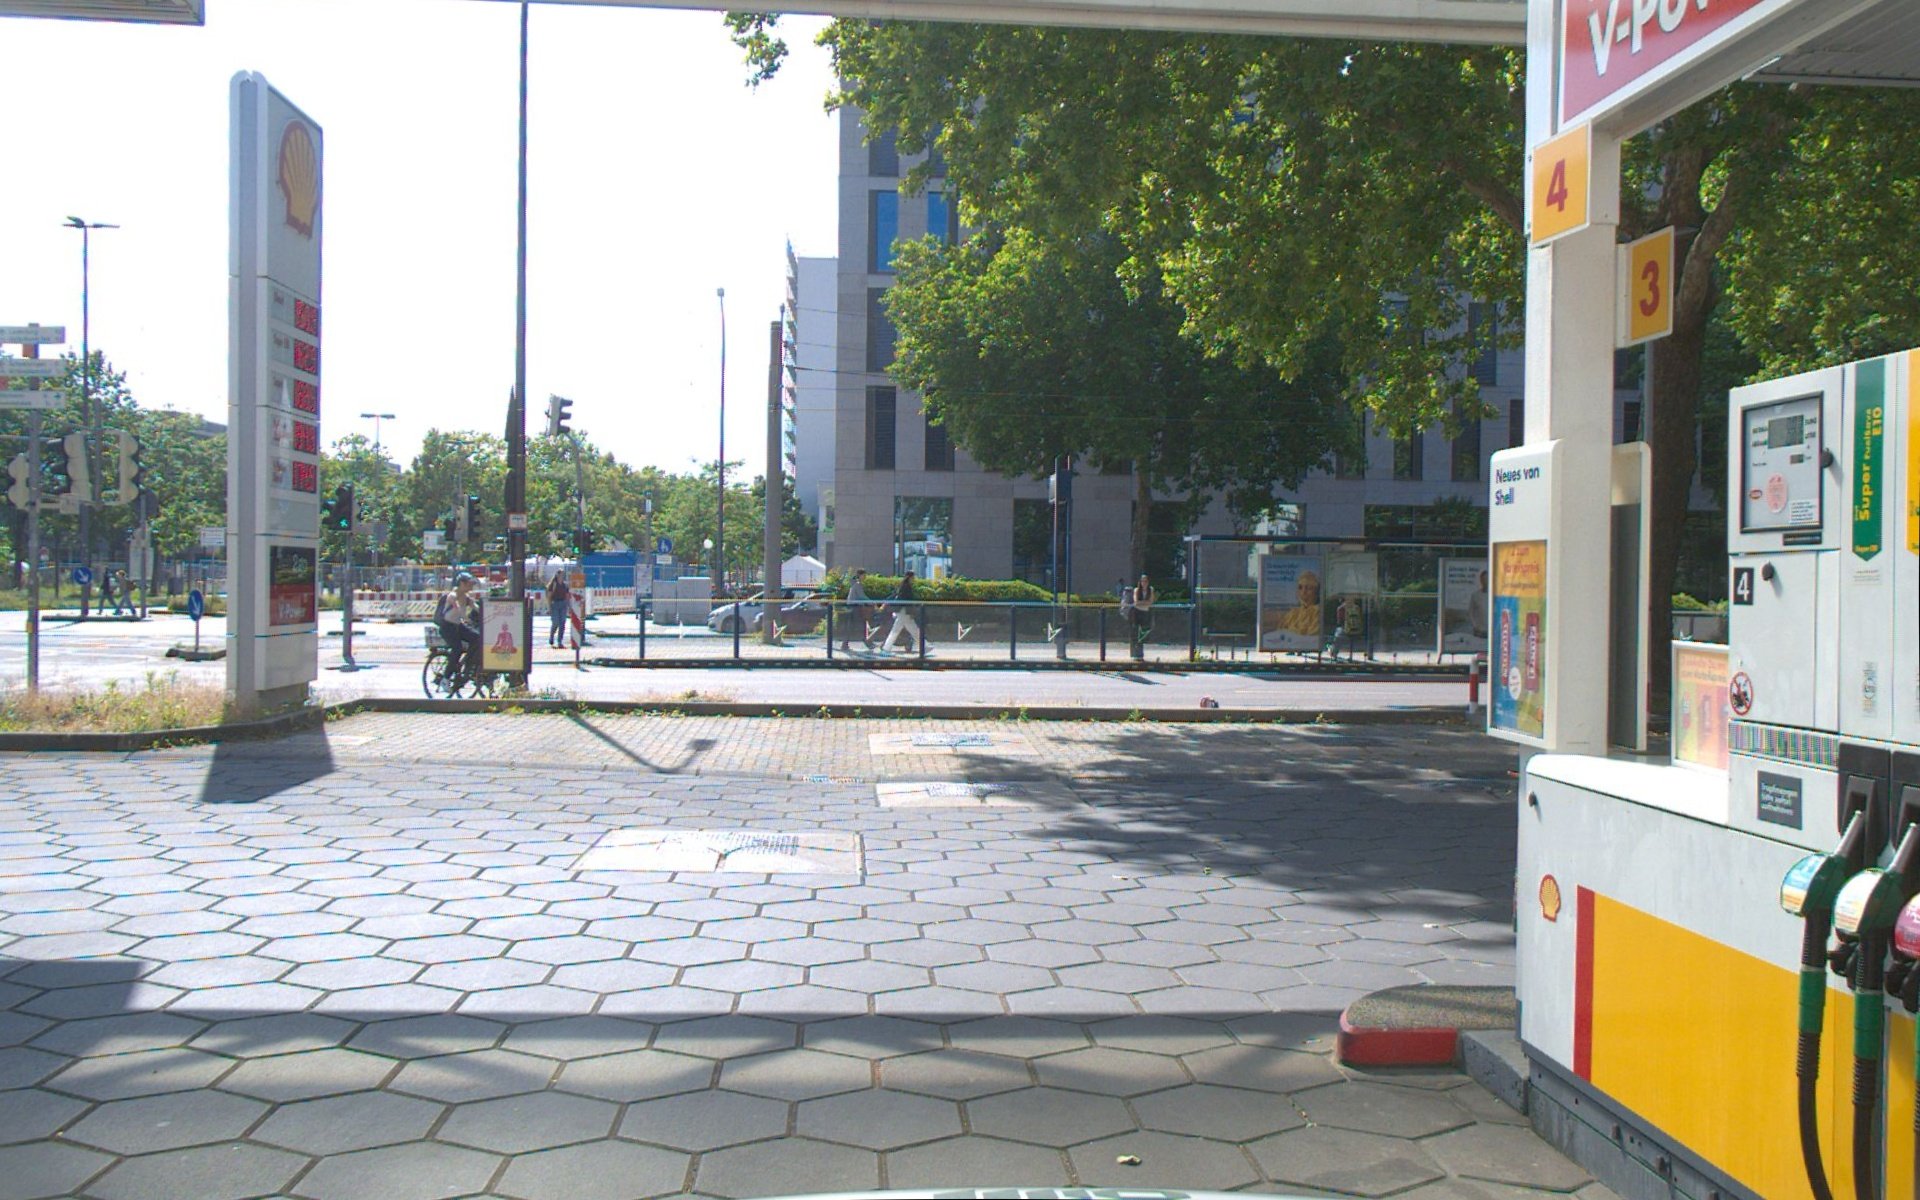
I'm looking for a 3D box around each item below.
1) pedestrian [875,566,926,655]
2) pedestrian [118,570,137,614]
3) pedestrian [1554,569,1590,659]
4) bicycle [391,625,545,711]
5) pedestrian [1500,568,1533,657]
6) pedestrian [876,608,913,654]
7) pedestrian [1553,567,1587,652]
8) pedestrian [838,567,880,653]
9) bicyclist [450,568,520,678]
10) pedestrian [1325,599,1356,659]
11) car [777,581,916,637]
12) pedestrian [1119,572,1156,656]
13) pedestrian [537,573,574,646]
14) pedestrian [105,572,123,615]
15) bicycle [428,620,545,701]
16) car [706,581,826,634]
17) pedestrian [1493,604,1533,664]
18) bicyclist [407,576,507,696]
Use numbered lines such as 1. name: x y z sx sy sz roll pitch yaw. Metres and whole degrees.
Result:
1. pedestrian: -1.146 0.196 32.133 0.912 1.712 0.503 1 0 5
2. pedestrian: -28.773 -0.271 57.172 0.557 1.494 0.509 0 0 -29
3. pedestrian: 12.236 0.277 33.076 0.489 1.766 0.524 1 0 -2
4. bicycle: -6.777 0.921 22.775 1.976 1.101 0.640 1 0 14
5. pedestrian: 11.121 0.254 33.048 0.489 1.766 0.406 1 0 -2
6. pedestrian: -1.313 0.613 33.235 0.676 0.895 0.503 1 0 4
7. pedestrian: 12.778 0.187 34.649 0.489 1.766 0.524 1 0 -2
8. pedestrian: -2.025 0.202 33.289 0.760 1.712 0.503 1 0 5
9. bicyclist: -6.897 0.327 24.004 0.847 1.571 0.533 1 0 32
10. pedestrian: 7.533 0.567 32.734 0.488 1.157 0.524 1 0 2
11. car: -3.351 0.245 48.511 3.914 1.579 1.699 1 1 -10
12. pedestrian: 3.462 0.266 32.250 0.572 1.619 0.669 1 2 -5
13. pedestrian: -8.735 0.198 35.725 0.636 1.567 0.503 1 0 5
14. pedestrian: -29.661 -0.219 57.970 0.557 1.494 0.509 0 0 -29
15. bicycle: -6.878 0.862 24.006 1.827 1.101 0.523 1 1 31
16. car: -6.009 0.234 51.136 3.615 1.579 1.588 1 1 -10
17. pedestrian: 11.067 0.675 33.096 0.615 1.157 0.524 1 0 2
18. bicyclist: -6.933 0.482 22.810 1.144 1.608 0.640 1 0 14
